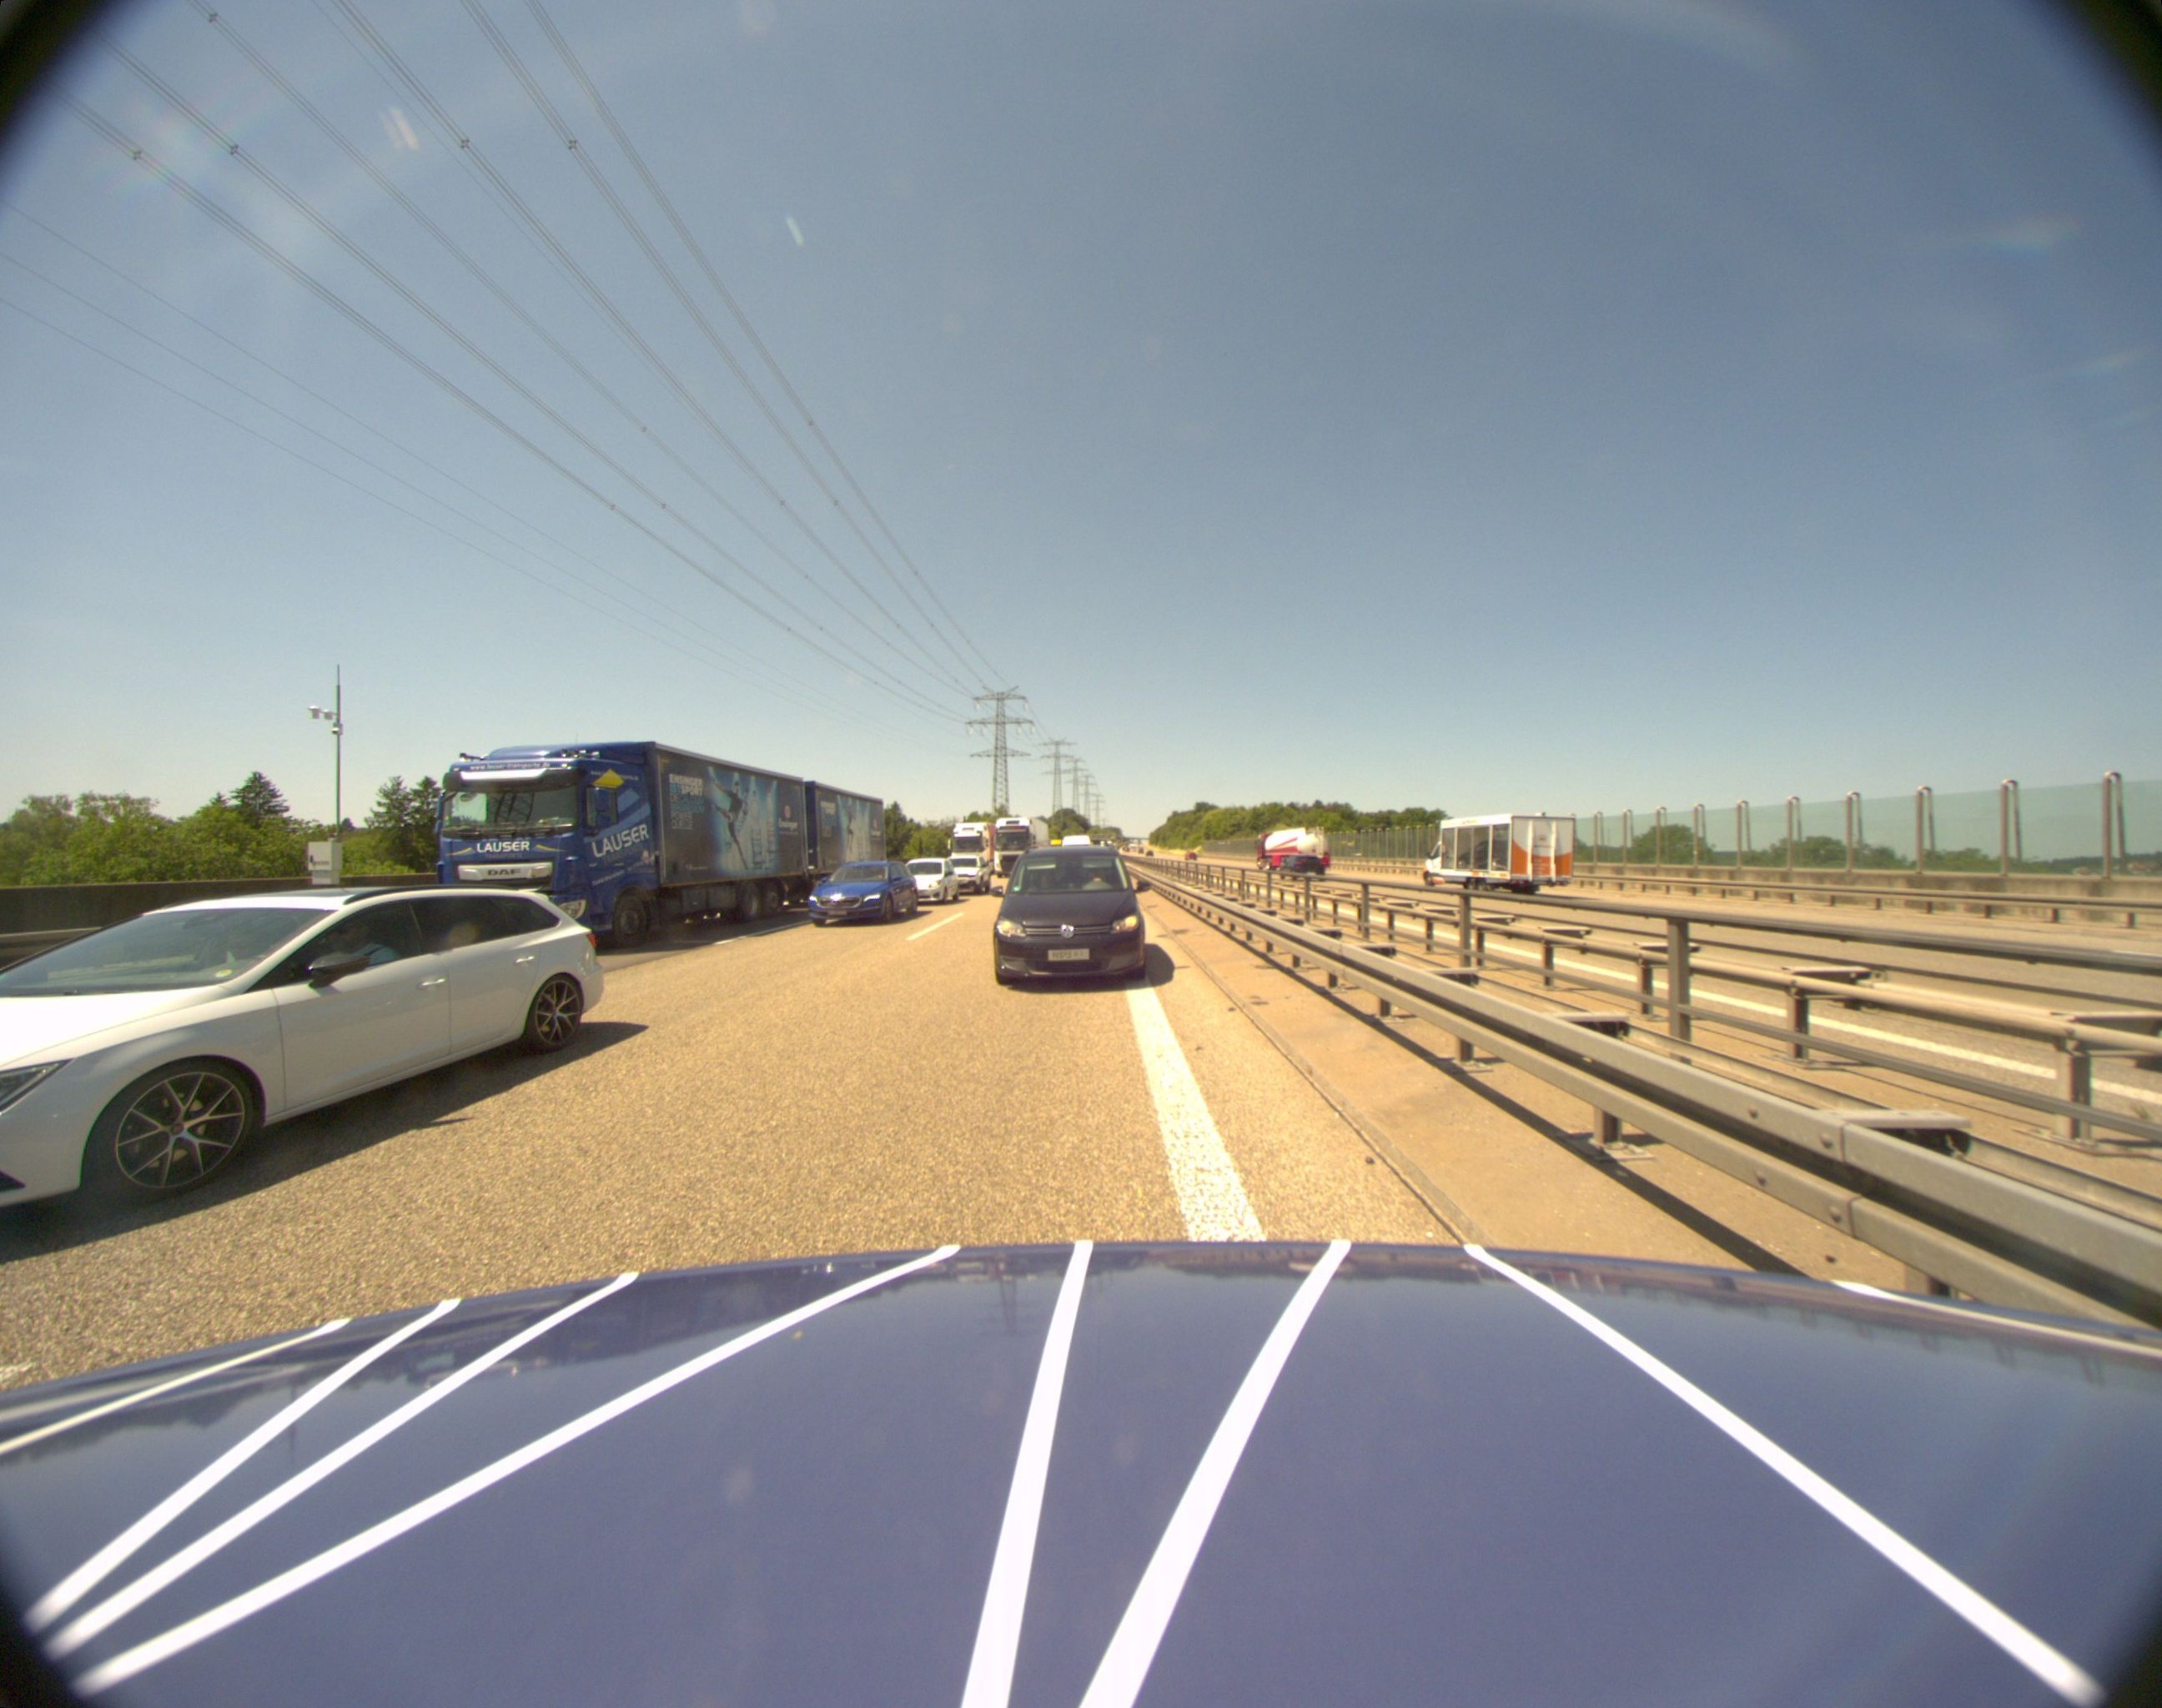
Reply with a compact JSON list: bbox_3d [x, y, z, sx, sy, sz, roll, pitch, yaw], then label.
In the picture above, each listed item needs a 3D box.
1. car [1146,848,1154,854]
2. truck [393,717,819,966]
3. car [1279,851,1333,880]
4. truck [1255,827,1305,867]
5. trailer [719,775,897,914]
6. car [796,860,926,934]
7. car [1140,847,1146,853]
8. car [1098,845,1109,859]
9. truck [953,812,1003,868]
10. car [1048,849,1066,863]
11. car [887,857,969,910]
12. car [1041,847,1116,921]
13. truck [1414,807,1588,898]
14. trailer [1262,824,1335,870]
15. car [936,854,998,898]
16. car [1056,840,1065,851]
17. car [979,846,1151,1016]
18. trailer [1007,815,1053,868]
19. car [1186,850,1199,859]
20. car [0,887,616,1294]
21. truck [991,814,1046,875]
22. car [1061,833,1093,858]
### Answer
[{"bbox_3d":[16.499,-0.724,182.240,1.704,1.412,4.000,2,1,1],"label":"car"},{"bbox_3d":[-9.512,-0.271,17.537,2.859,3.927,10.393,-2,1,2],"label":"truck"},{"bbox_3d":[12.199,0.587,41.408,1.802,1.490,3.851,0,1,1],"label":"car"},{"bbox_3d":[17.710,-0.642,67.999,2.915,3.395,6.294,1,1,2],"label":"truck"},{"bbox_3d":[-9.233,-0.348,27.080,2.835,4.066,8.637,-2,1,2],"label":"trailer"},{"bbox_3d":[-5.261,0.961,18.808,1.712,1.443,4.563,-2,1,2],"label":"car"},{"bbox_3d":[19.961,-1.244,244.539,1.832,1.629,4.000,2,1,1],"label":"car"},{"bbox_3d":[3.753,-0.358,128.191,1.704,2.116,4.000,-2,1,1],"label":"car"},{"bbox_3d":[-7.988,-1.102,59.939,2.608,3.965,8.263,-2,1,1],"label":"truck"},{"bbox_3d":[-2.912,0.212,92.737,1.924,1.501,3.996,-2,1,2],"label":"car"},{"bbox_3d":[-4.923,0.911,25.034,1.712,1.443,4.144,-2,1,2],"label":"car"},{"bbox_3d":[-0.023,0.695,20.034,1.712,1.669,3.931,-2,1,1],"label":"car"},{"bbox_3d":[16.738,-0.117,31.128,2.569,3.170,8.293,2,1,1],"label":"truck"},{"bbox_3d":[17.493,-0.624,62.230,2.883,3.360,12.006,1,1,2],"label":"trailer"},{"bbox_3d":[-4.484,0.831,30.427,1.712,1.501,4.144,-2,1,2],"label":"car"},{"bbox_3d":[-4.567,-1.929,171.905,1.704,2.525,4.000,2,1,1],"label":"car"},{"bbox_3d":[-0.134,0.773,9.784,1.712,1.669,3.931,-2,1,1],"label":"car"},{"bbox_3d":[-4.011,-1.014,61.596,2.822,3.830,9.083,-2,1,1],"label":"trailer"},{"bbox_3d":[19.081,0.047,130.196,1.786,1.412,4.000,2,1,1],"label":"car"},{"bbox_3d":[-5.170,1.063,4.757,1.713,1.443,4.429,-2,0,0],"label":"car"},{"bbox_3d":[-4.203,-0.695,52.886,2.849,3.804,8.263,-2,1,1],"label":"truck"},{"bbox_3d":[-0.211,-0.541,49.411,1.924,1.501,3.996,-2,1,2],"label":"car"}]
